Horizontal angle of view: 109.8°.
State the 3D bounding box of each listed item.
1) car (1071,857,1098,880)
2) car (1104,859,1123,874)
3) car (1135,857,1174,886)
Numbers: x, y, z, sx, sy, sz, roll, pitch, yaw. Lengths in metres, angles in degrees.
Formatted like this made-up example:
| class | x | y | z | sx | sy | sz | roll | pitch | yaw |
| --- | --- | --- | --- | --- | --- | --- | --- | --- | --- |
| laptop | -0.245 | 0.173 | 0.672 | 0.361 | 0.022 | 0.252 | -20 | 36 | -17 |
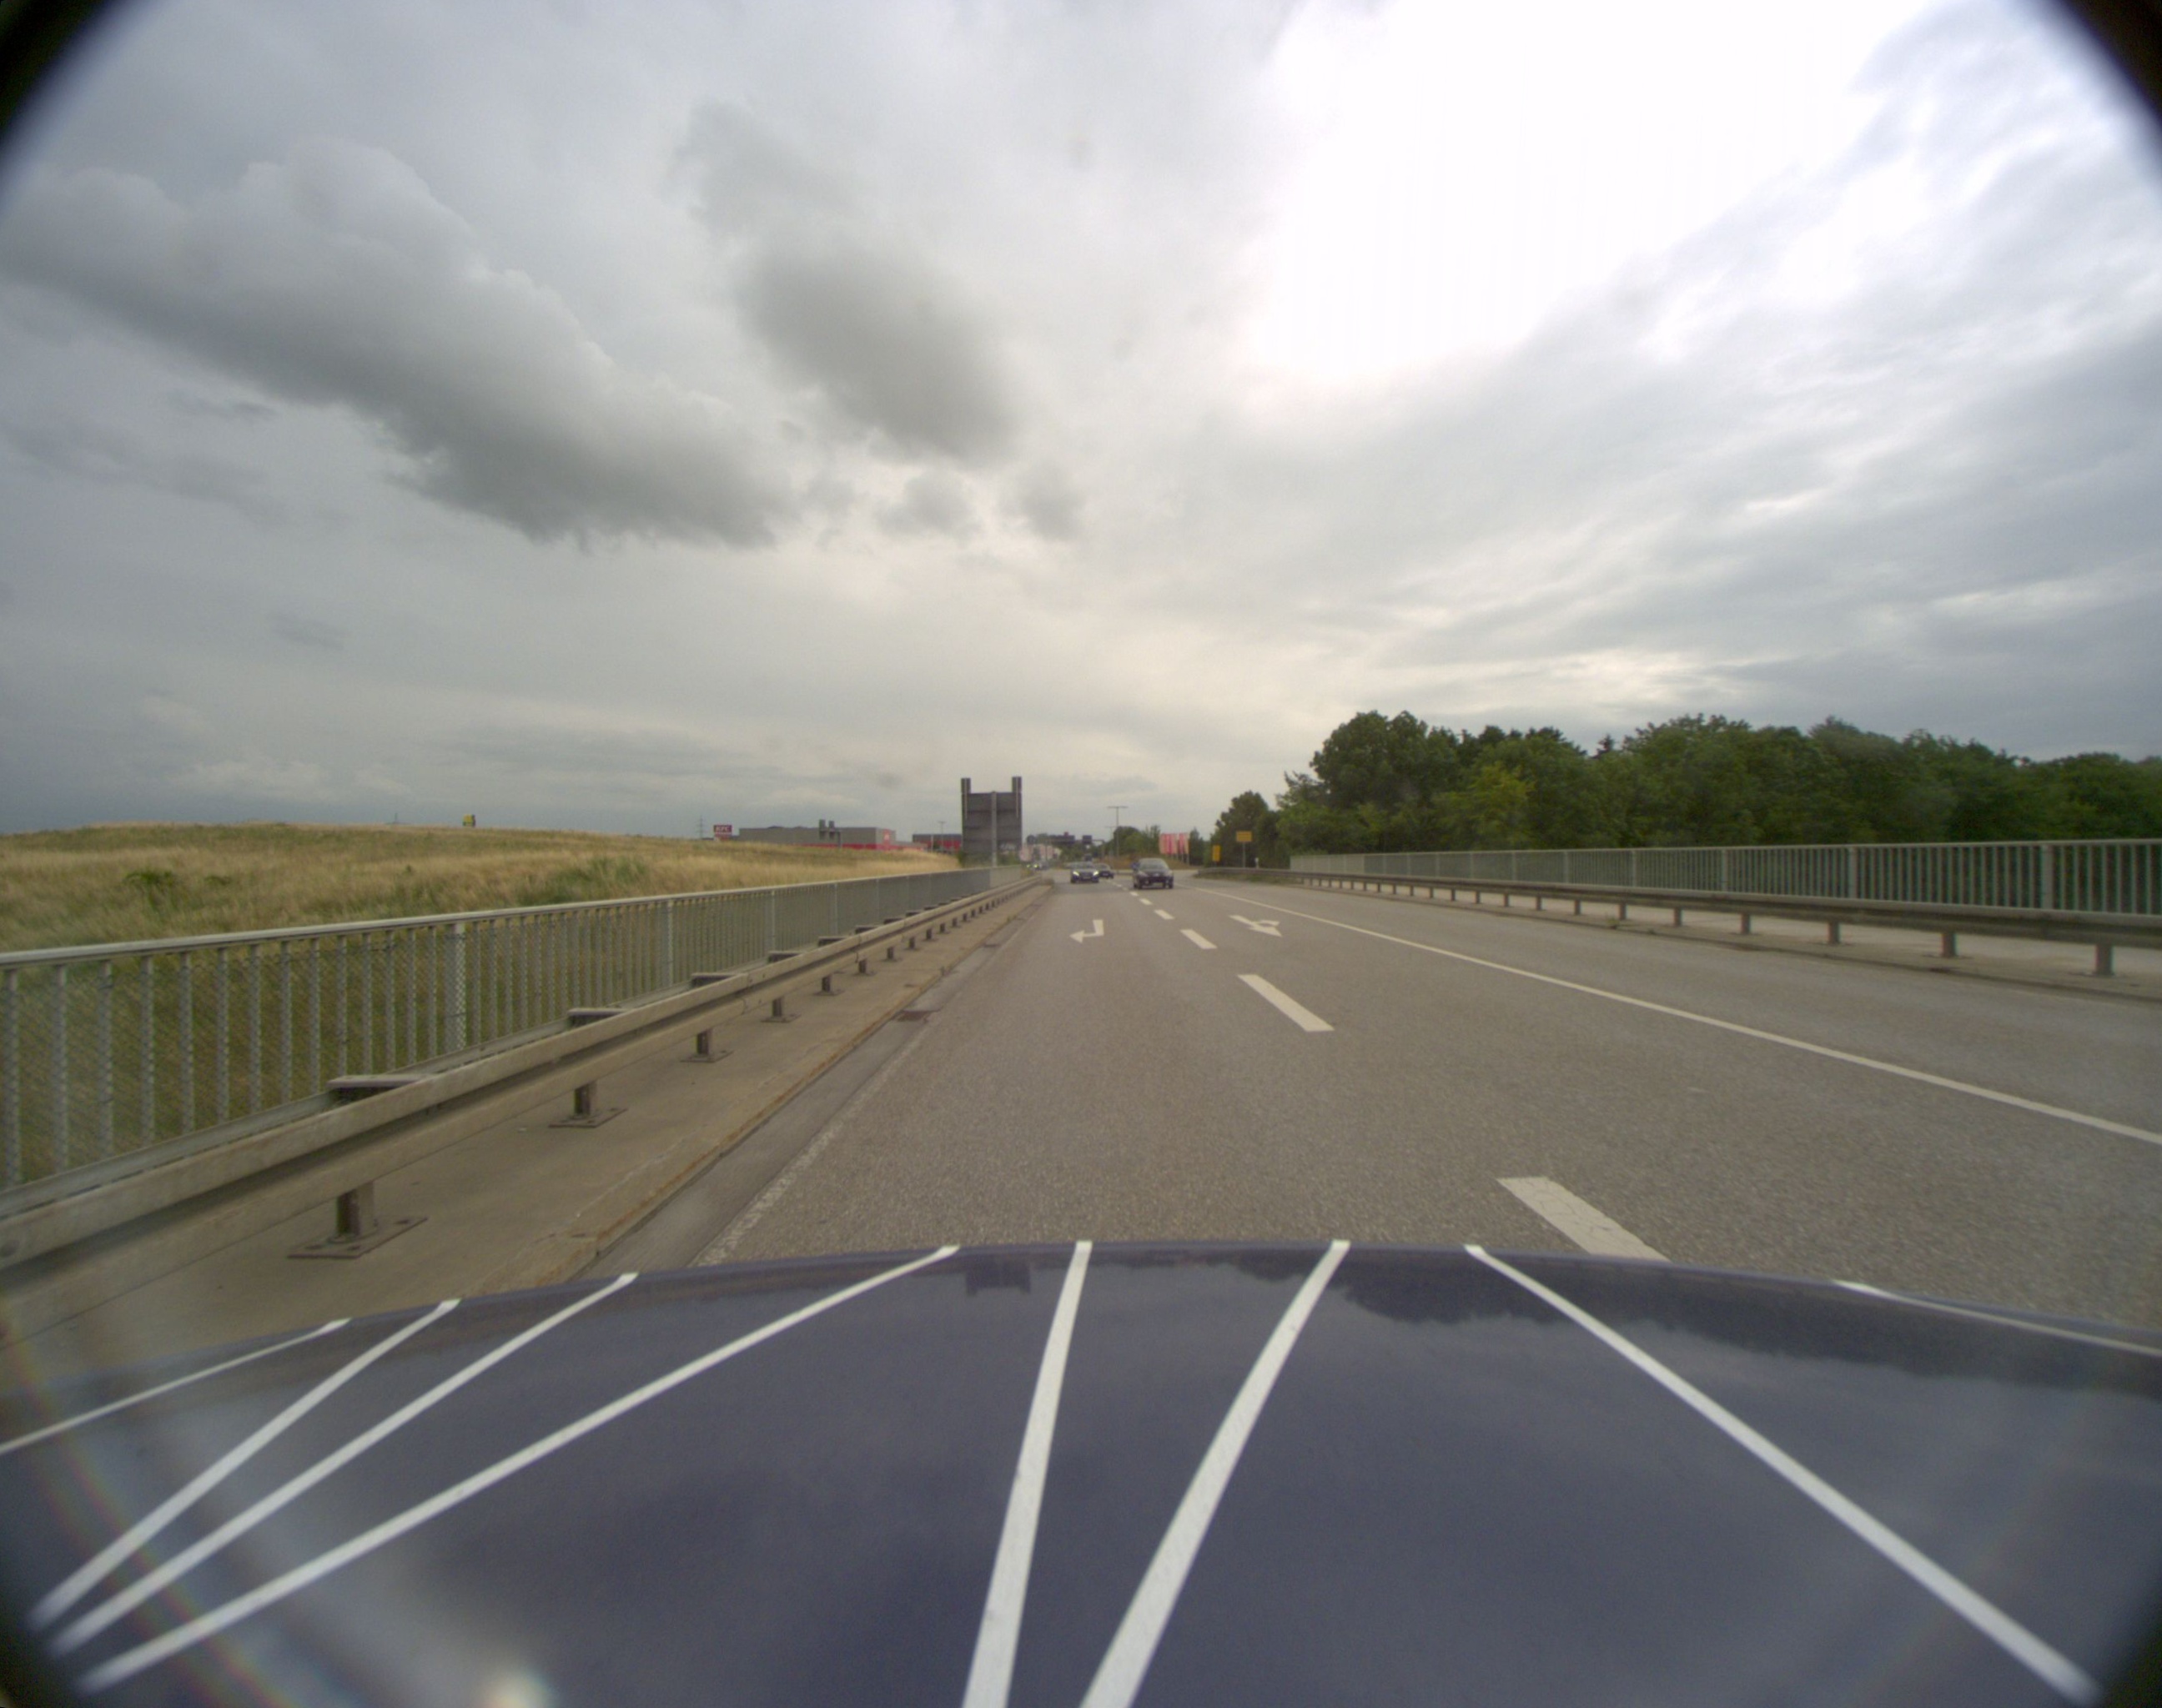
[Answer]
| class | x | y | z | sx | sy | sz | roll | pitch | yaw |
| --- | --- | --- | --- | --- | --- | --- | --- | --- | --- |
| car | 0.244 | 1.015 | 52.639 | 1.764 | 1.411 | 4.092 | -2 | -1 | 1 |
| car | 2.957 | 1.166 | 69.888 | 1.579 | 1.261 | 3.314 | -2 | 0 | 0 |
| car | 3.597 | 0.850 | 37.553 | 1.580 | 1.346 | 3.824 | -2 | -1 | 1 |
